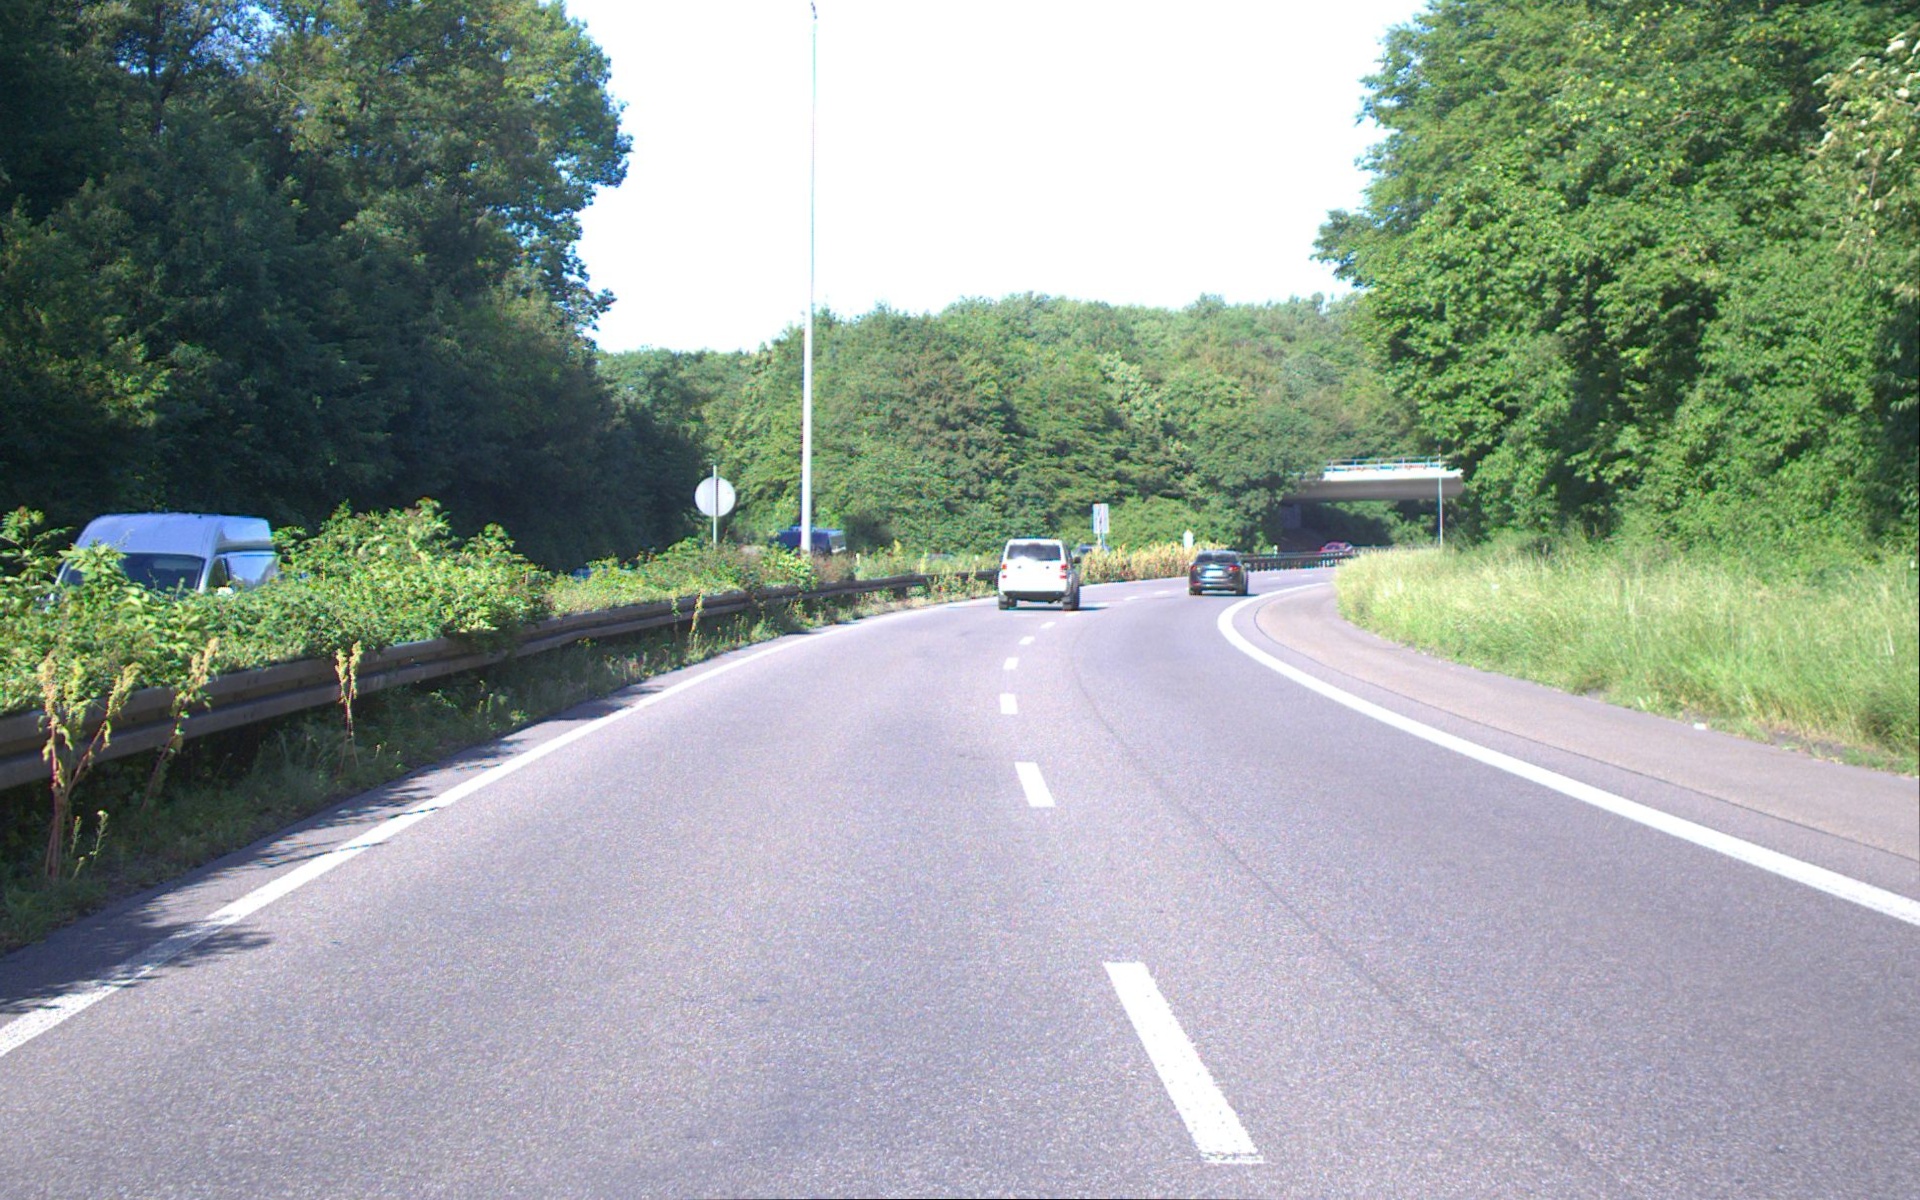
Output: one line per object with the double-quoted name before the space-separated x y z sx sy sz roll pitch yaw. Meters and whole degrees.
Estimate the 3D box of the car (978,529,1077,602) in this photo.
"car" 1.678 -0.865 86.597 1.951 1.776 4.588 1 0 -6

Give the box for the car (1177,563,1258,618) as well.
"car" 8.570 -0.334 114.306 1.952 1.776 4.585 1 0 14

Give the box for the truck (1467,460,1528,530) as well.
"truck" 35.233 -6.822 225.497 3.735 4.328 9.301 1 0 8

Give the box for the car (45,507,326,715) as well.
"car" -8.968 0.097 40.319 1.914 2.245 5.785 1 0 1
